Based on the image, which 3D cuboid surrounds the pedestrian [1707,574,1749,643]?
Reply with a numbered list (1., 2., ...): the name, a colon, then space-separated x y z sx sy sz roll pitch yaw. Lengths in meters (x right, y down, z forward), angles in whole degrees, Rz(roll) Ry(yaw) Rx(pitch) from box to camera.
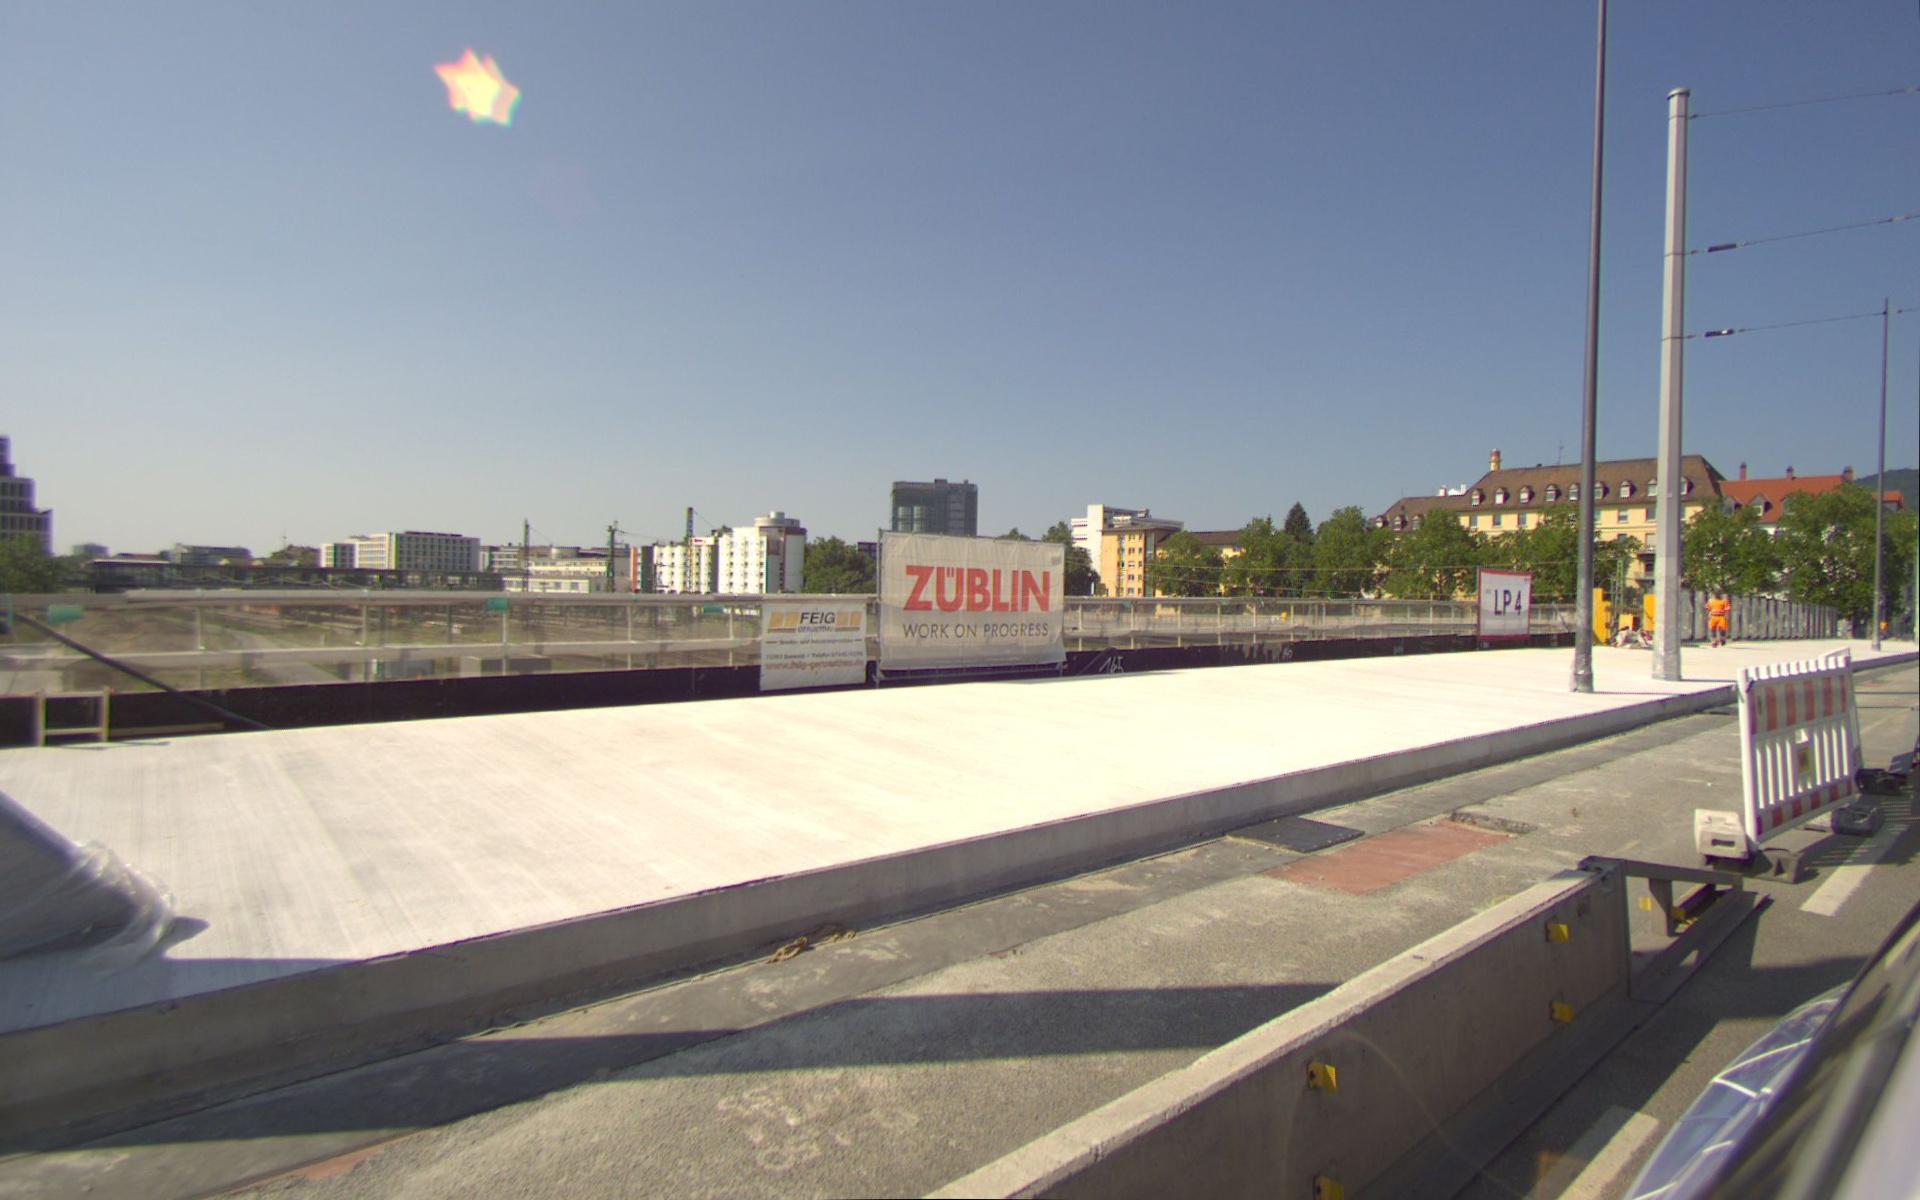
1. pedestrian: 22.859 0.241 30.116 0.999 1.989 0.732 1 1 -42
